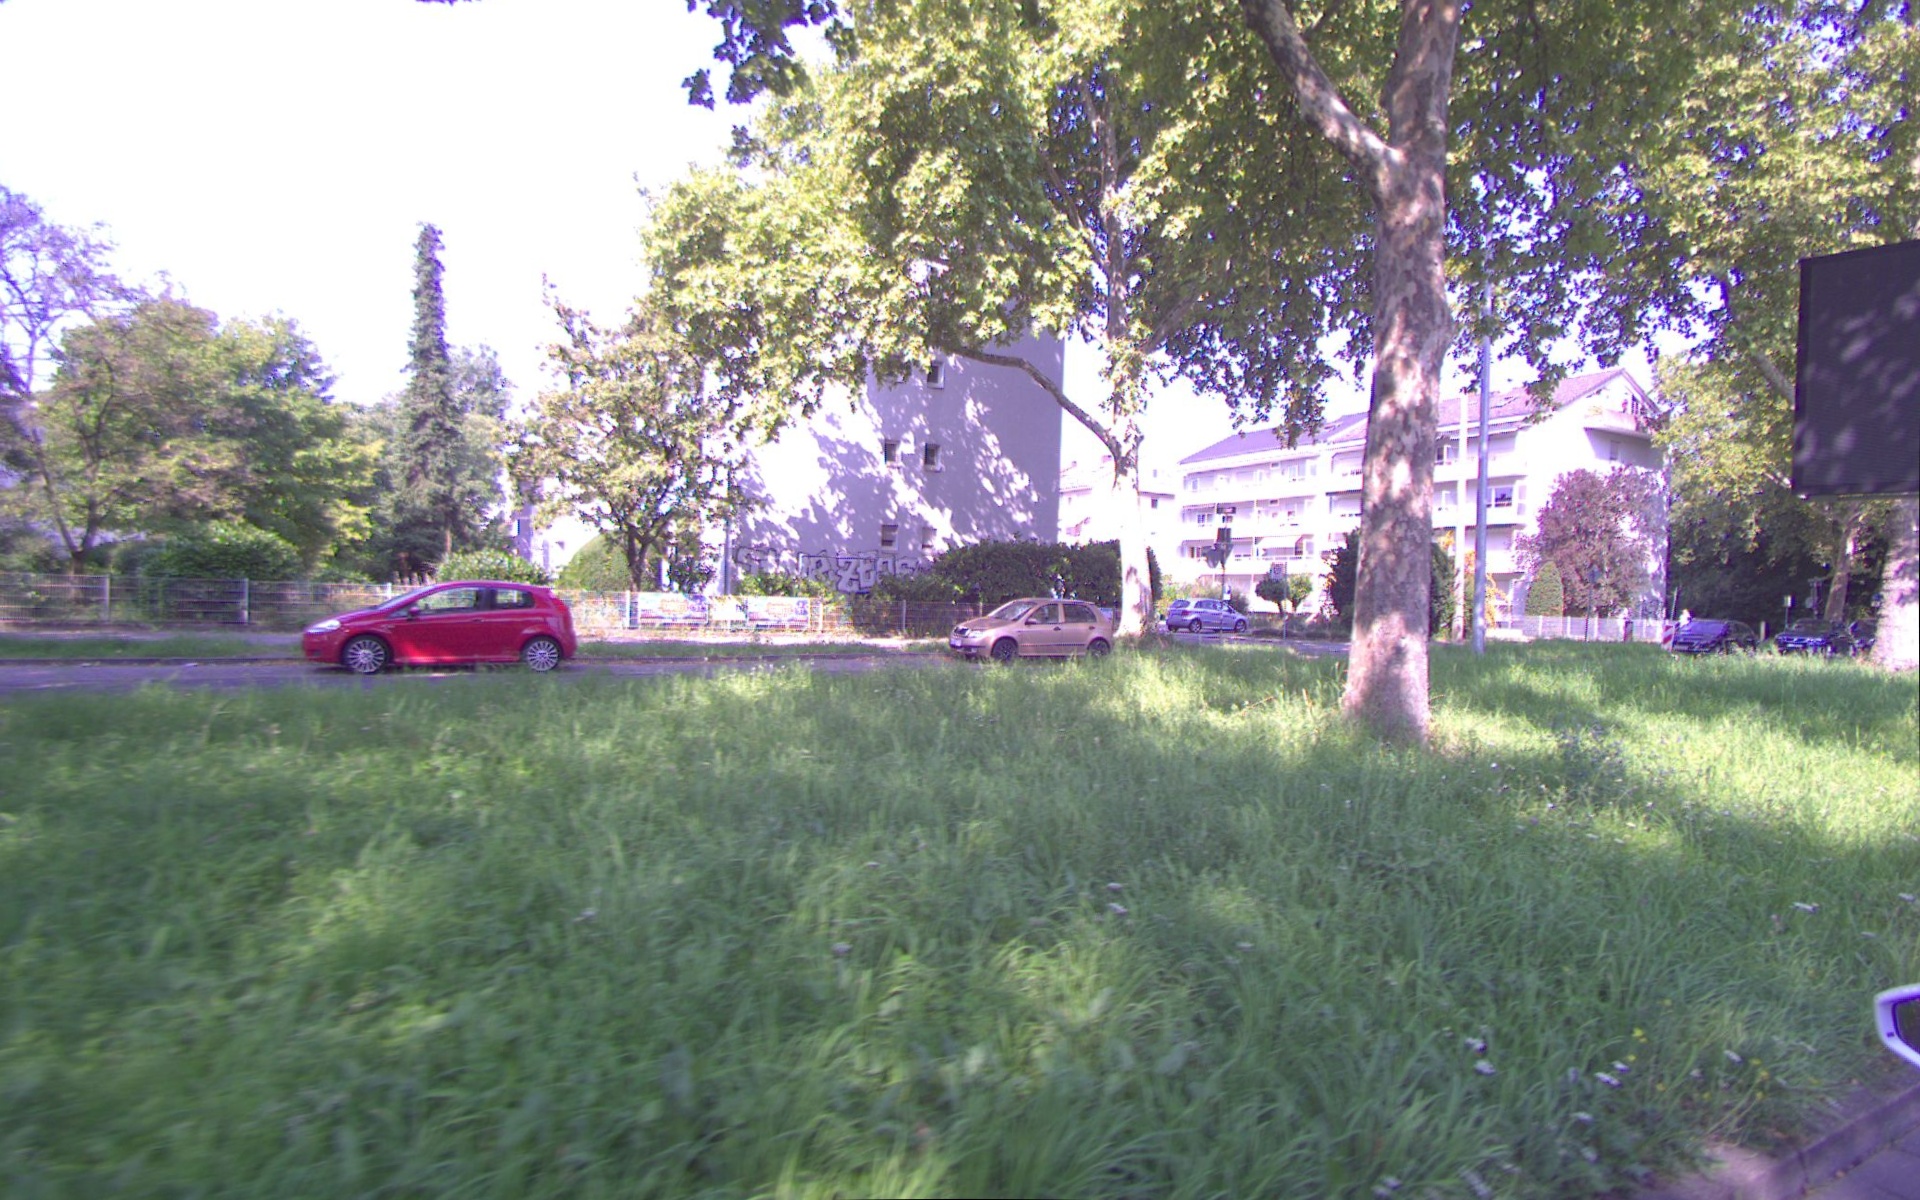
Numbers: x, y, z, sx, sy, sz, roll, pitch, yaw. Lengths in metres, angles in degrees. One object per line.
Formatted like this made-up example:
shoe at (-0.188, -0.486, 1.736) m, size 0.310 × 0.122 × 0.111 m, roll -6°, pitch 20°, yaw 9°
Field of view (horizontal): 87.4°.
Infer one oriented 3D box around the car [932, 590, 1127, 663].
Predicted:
car at (1.578, 0.590, 22.484) m, size 4.015 × 1.449 × 1.794 m, roll 2°, pitch 1°, yaw -29°

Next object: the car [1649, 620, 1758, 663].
car at (28.446, 1.593, 38.388) m, size 4.487 × 1.528 × 1.691 m, roll 2°, pitch 0°, yaw -30°

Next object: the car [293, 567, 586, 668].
car at (-8.346, 0.300, 16.363) m, size 4.015 × 1.471 × 1.532 m, roll 2°, pitch 1°, yaw -29°

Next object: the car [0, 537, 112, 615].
car at (-25.184, -0.677, 26.270) m, size 4.207 × 1.926 × 1.839 m, roll 2°, pitch 1°, yaw -25°

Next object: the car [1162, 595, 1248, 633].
car at (11.583, 0.654, 47.437) m, size 3.695 × 1.648 × 1.605 m, roll 2°, pitch 1°, yaw -23°

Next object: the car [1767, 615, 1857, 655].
car at (36.484, 1.512, 42.999) m, size 3.953 × 1.588 × 1.691 m, roll 2°, pitch 0°, yaw -30°

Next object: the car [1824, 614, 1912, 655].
car at (42.319, 1.630, 46.808) m, size 4.605 × 1.755 × 1.691 m, roll 2°, pitch 1°, yaw -30°
